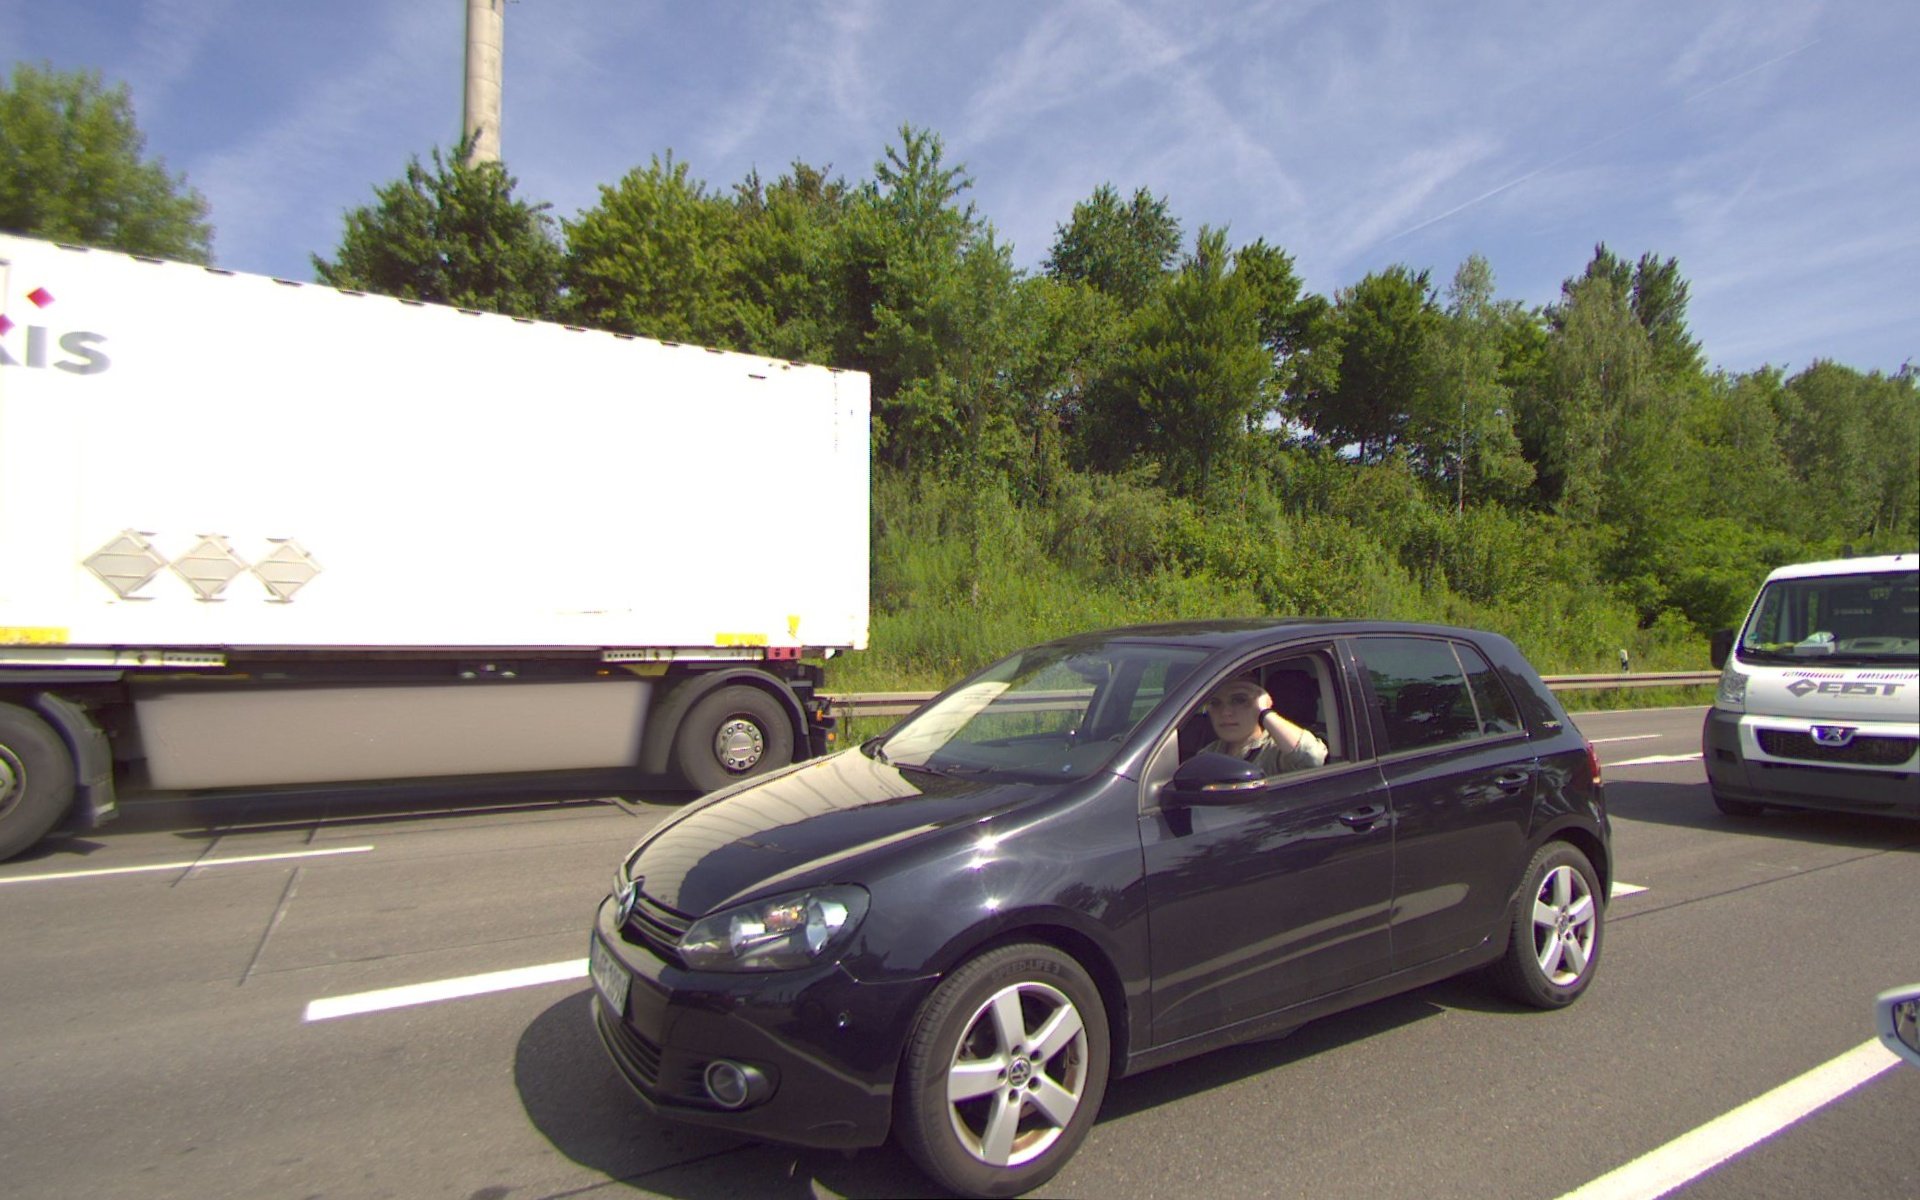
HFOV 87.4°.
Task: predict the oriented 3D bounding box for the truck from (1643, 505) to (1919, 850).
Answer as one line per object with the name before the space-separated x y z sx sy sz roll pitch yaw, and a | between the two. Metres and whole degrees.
truck | 8.891 0.623 8.839 6.423 2.297 2.217 2 -3 -30

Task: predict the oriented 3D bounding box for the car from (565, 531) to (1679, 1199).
car | 0.789 0.728 3.839 4.061 1.572 1.703 2 -3 -31

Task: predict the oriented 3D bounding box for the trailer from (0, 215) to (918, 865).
trailer | -4.829 -0.279 8.785 8.657 4.123 2.826 2 -2 -31
